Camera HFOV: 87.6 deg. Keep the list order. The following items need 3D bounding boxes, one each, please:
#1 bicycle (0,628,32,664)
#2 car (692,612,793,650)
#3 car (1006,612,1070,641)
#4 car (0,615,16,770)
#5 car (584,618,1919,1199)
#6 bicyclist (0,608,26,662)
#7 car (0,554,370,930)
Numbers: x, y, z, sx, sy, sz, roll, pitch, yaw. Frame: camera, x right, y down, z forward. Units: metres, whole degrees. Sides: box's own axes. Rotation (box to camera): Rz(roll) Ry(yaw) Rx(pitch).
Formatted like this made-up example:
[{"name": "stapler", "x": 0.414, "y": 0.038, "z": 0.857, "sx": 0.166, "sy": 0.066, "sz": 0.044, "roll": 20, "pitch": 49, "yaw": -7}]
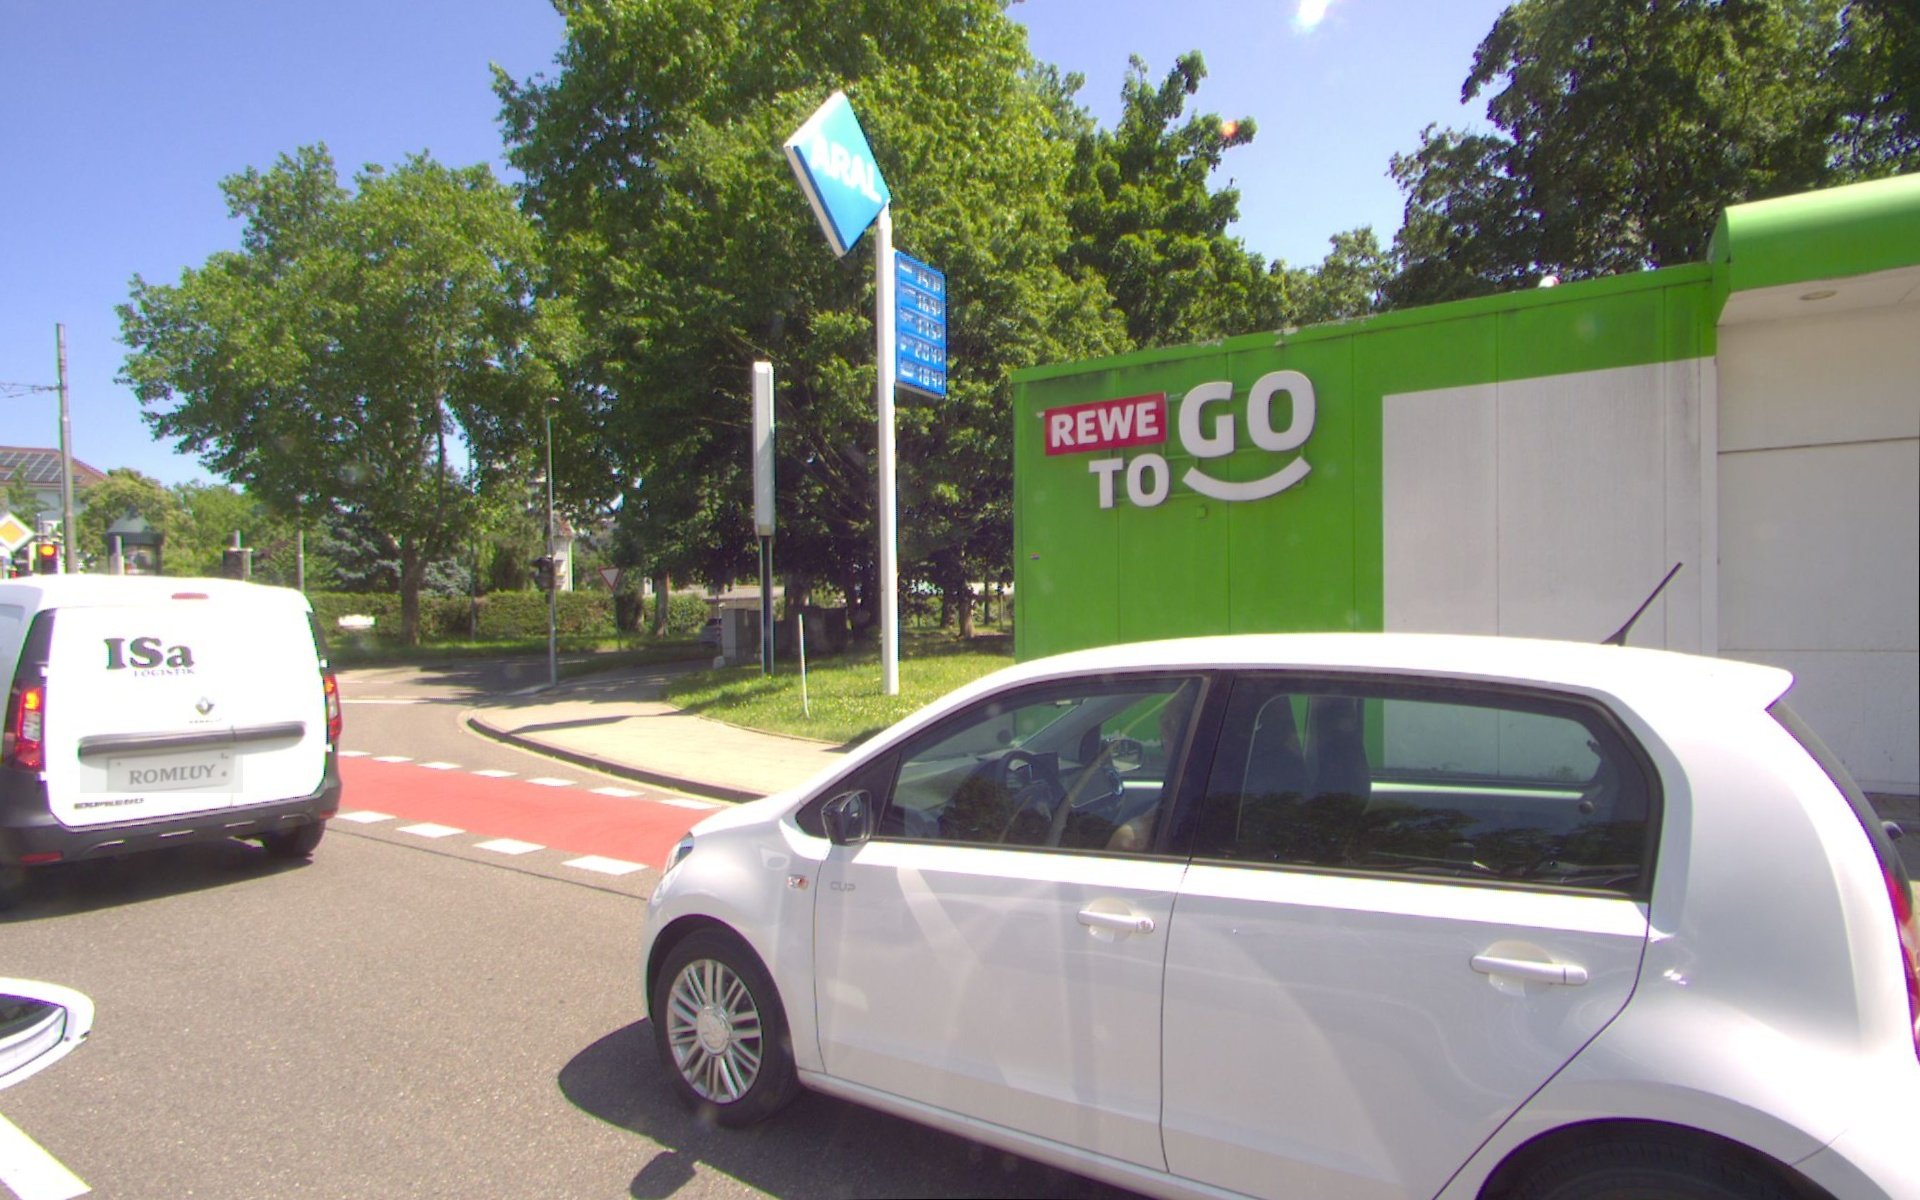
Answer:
[{"name": "bicycle", "x": -32.262, "y": 1.525, "z": 33.634, "sx": 1.923, "sy": 1.174, "sz": 0.892, "roll": -1, "pitch": 0, "yaw": 23}, {"name": "car", "x": -9.230, "y": 1.305, "z": 42.695, "sx": 1.733, "sy": 1.539, "sz": 3.968, "roll": -2, "pitch": -1, "yaw": 41}, {"name": "car", "x": 4.664, "y": 1.578, "z": 59.565, "sx": 1.681, "sy": 1.617, "sz": 3.965, "roll": 0, "pitch": -1, "yaw": 44}, {"name": "car", "x": -11.927, "y": 0.939, "z": 10.642, "sx": 3.943, "sy": 1.589, "sz": 1.832, "roll": 0, "pitch": -1, "yaw": 32}, {"name": "car", "x": 0.642, "y": 0.805, "z": 2.988, "sx": 3.387, "sy": 1.466, "sz": 1.606, "roll": 0, "pitch": -1, "yaw": 33}, {"name": "bicyclist", "x": -32.218, "y": 1.171, "z": 33.673, "sx": 0.714, "sy": 1.811, "sz": 0.974, "roll": -1, "pitch": 0, "yaw": 23}, {"name": "car", "x": -5.877, "y": 0.743, "z": 6.629, "sx": 4.005, "sy": 1.811, "sz": 1.725, "roll": -1, "pitch": -2, "yaw": 31}]
